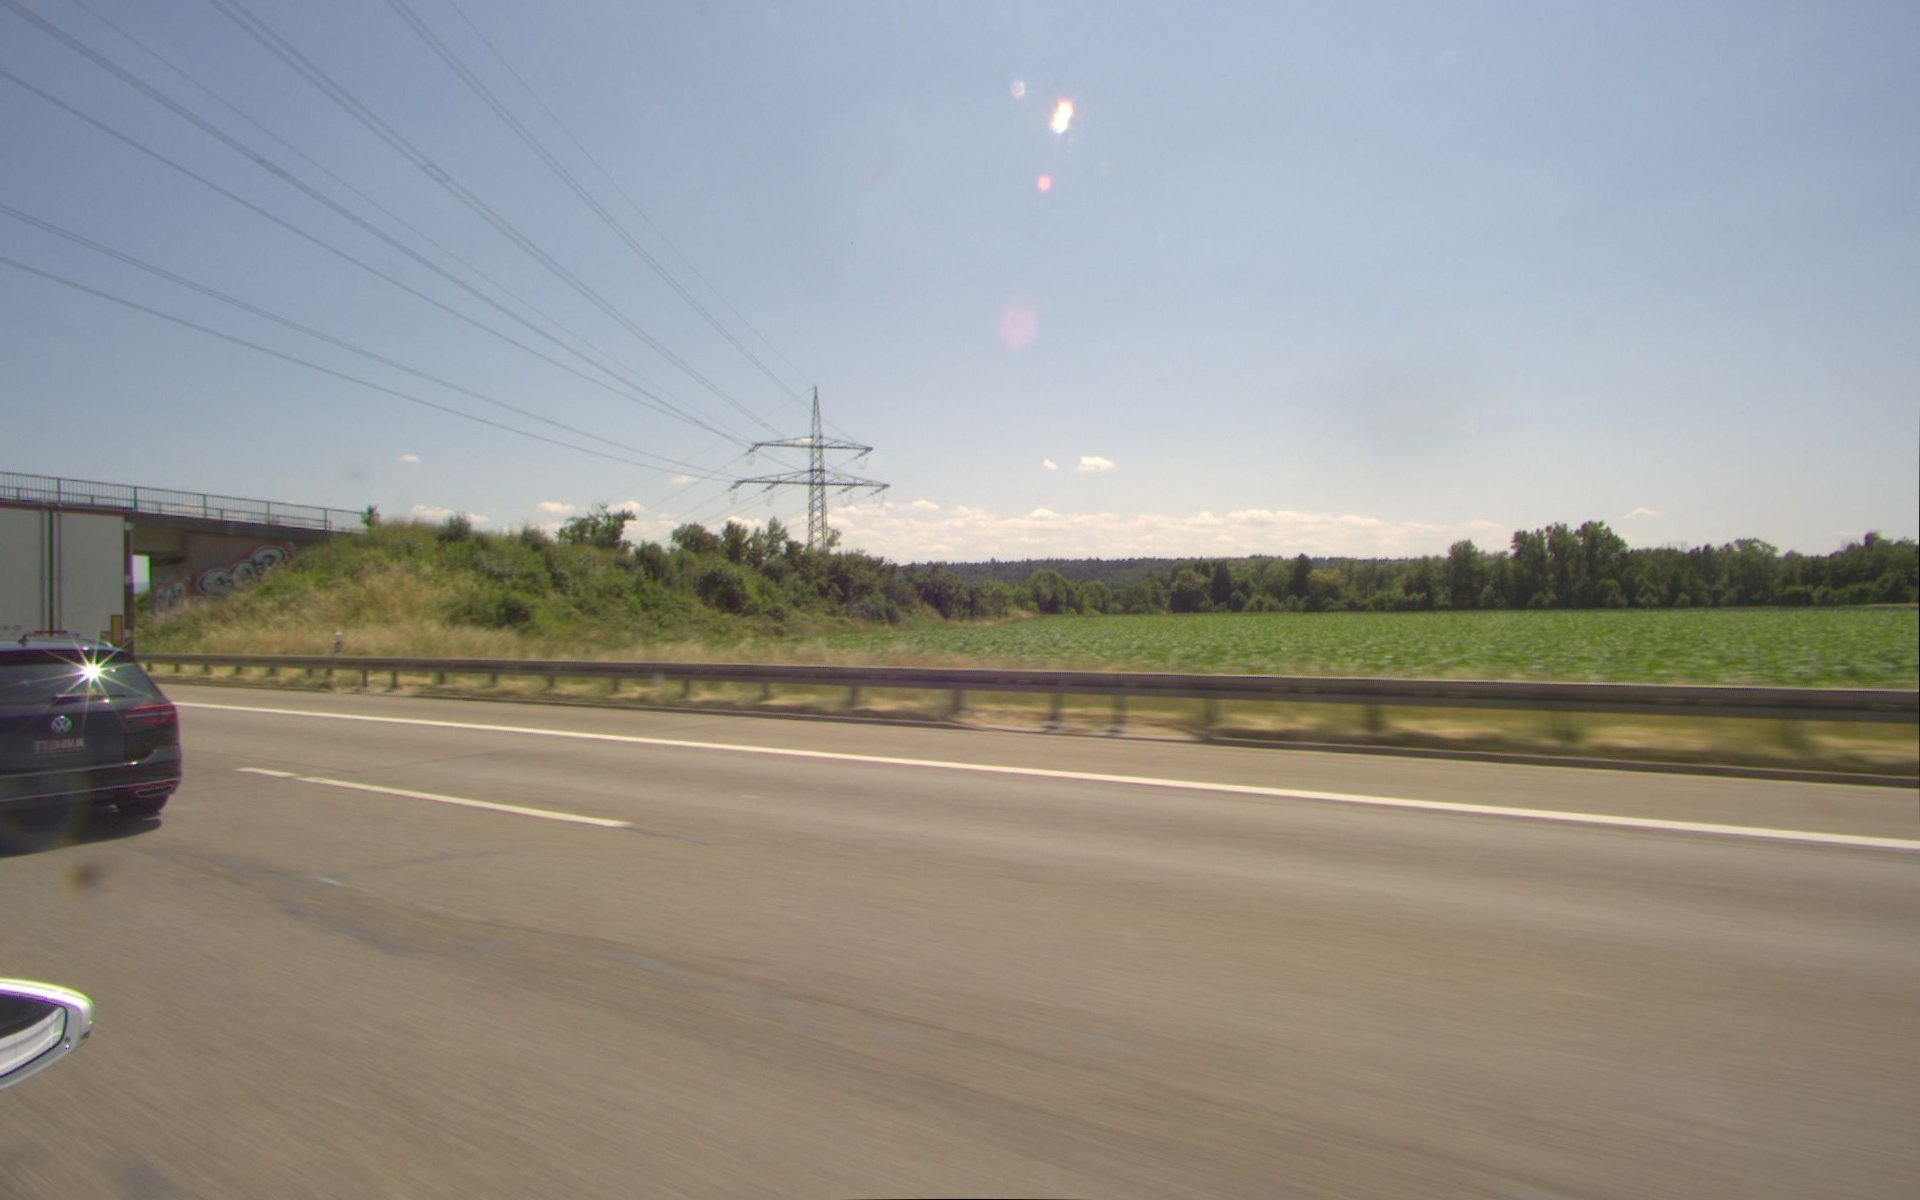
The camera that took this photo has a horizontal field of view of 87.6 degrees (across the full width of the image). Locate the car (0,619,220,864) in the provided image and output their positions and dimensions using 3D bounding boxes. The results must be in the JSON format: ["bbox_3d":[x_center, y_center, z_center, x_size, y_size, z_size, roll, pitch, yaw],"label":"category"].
[{"bbox_3d":[-8.177,0.974,8.071,4.864,1.594,1.930,-1,-2,32],"label":"car"}]

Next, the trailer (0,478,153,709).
[{"bbox_3d":[-22.846,0.027,22.778,13.404,4.252,2.938,-1,-1,33],"label":"trailer"}]

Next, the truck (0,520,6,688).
[{"bbox_3d":[-28.349,0.131,26.358,7.578,4.282,2.974,-1,-1,33],"label":"truck"}]
